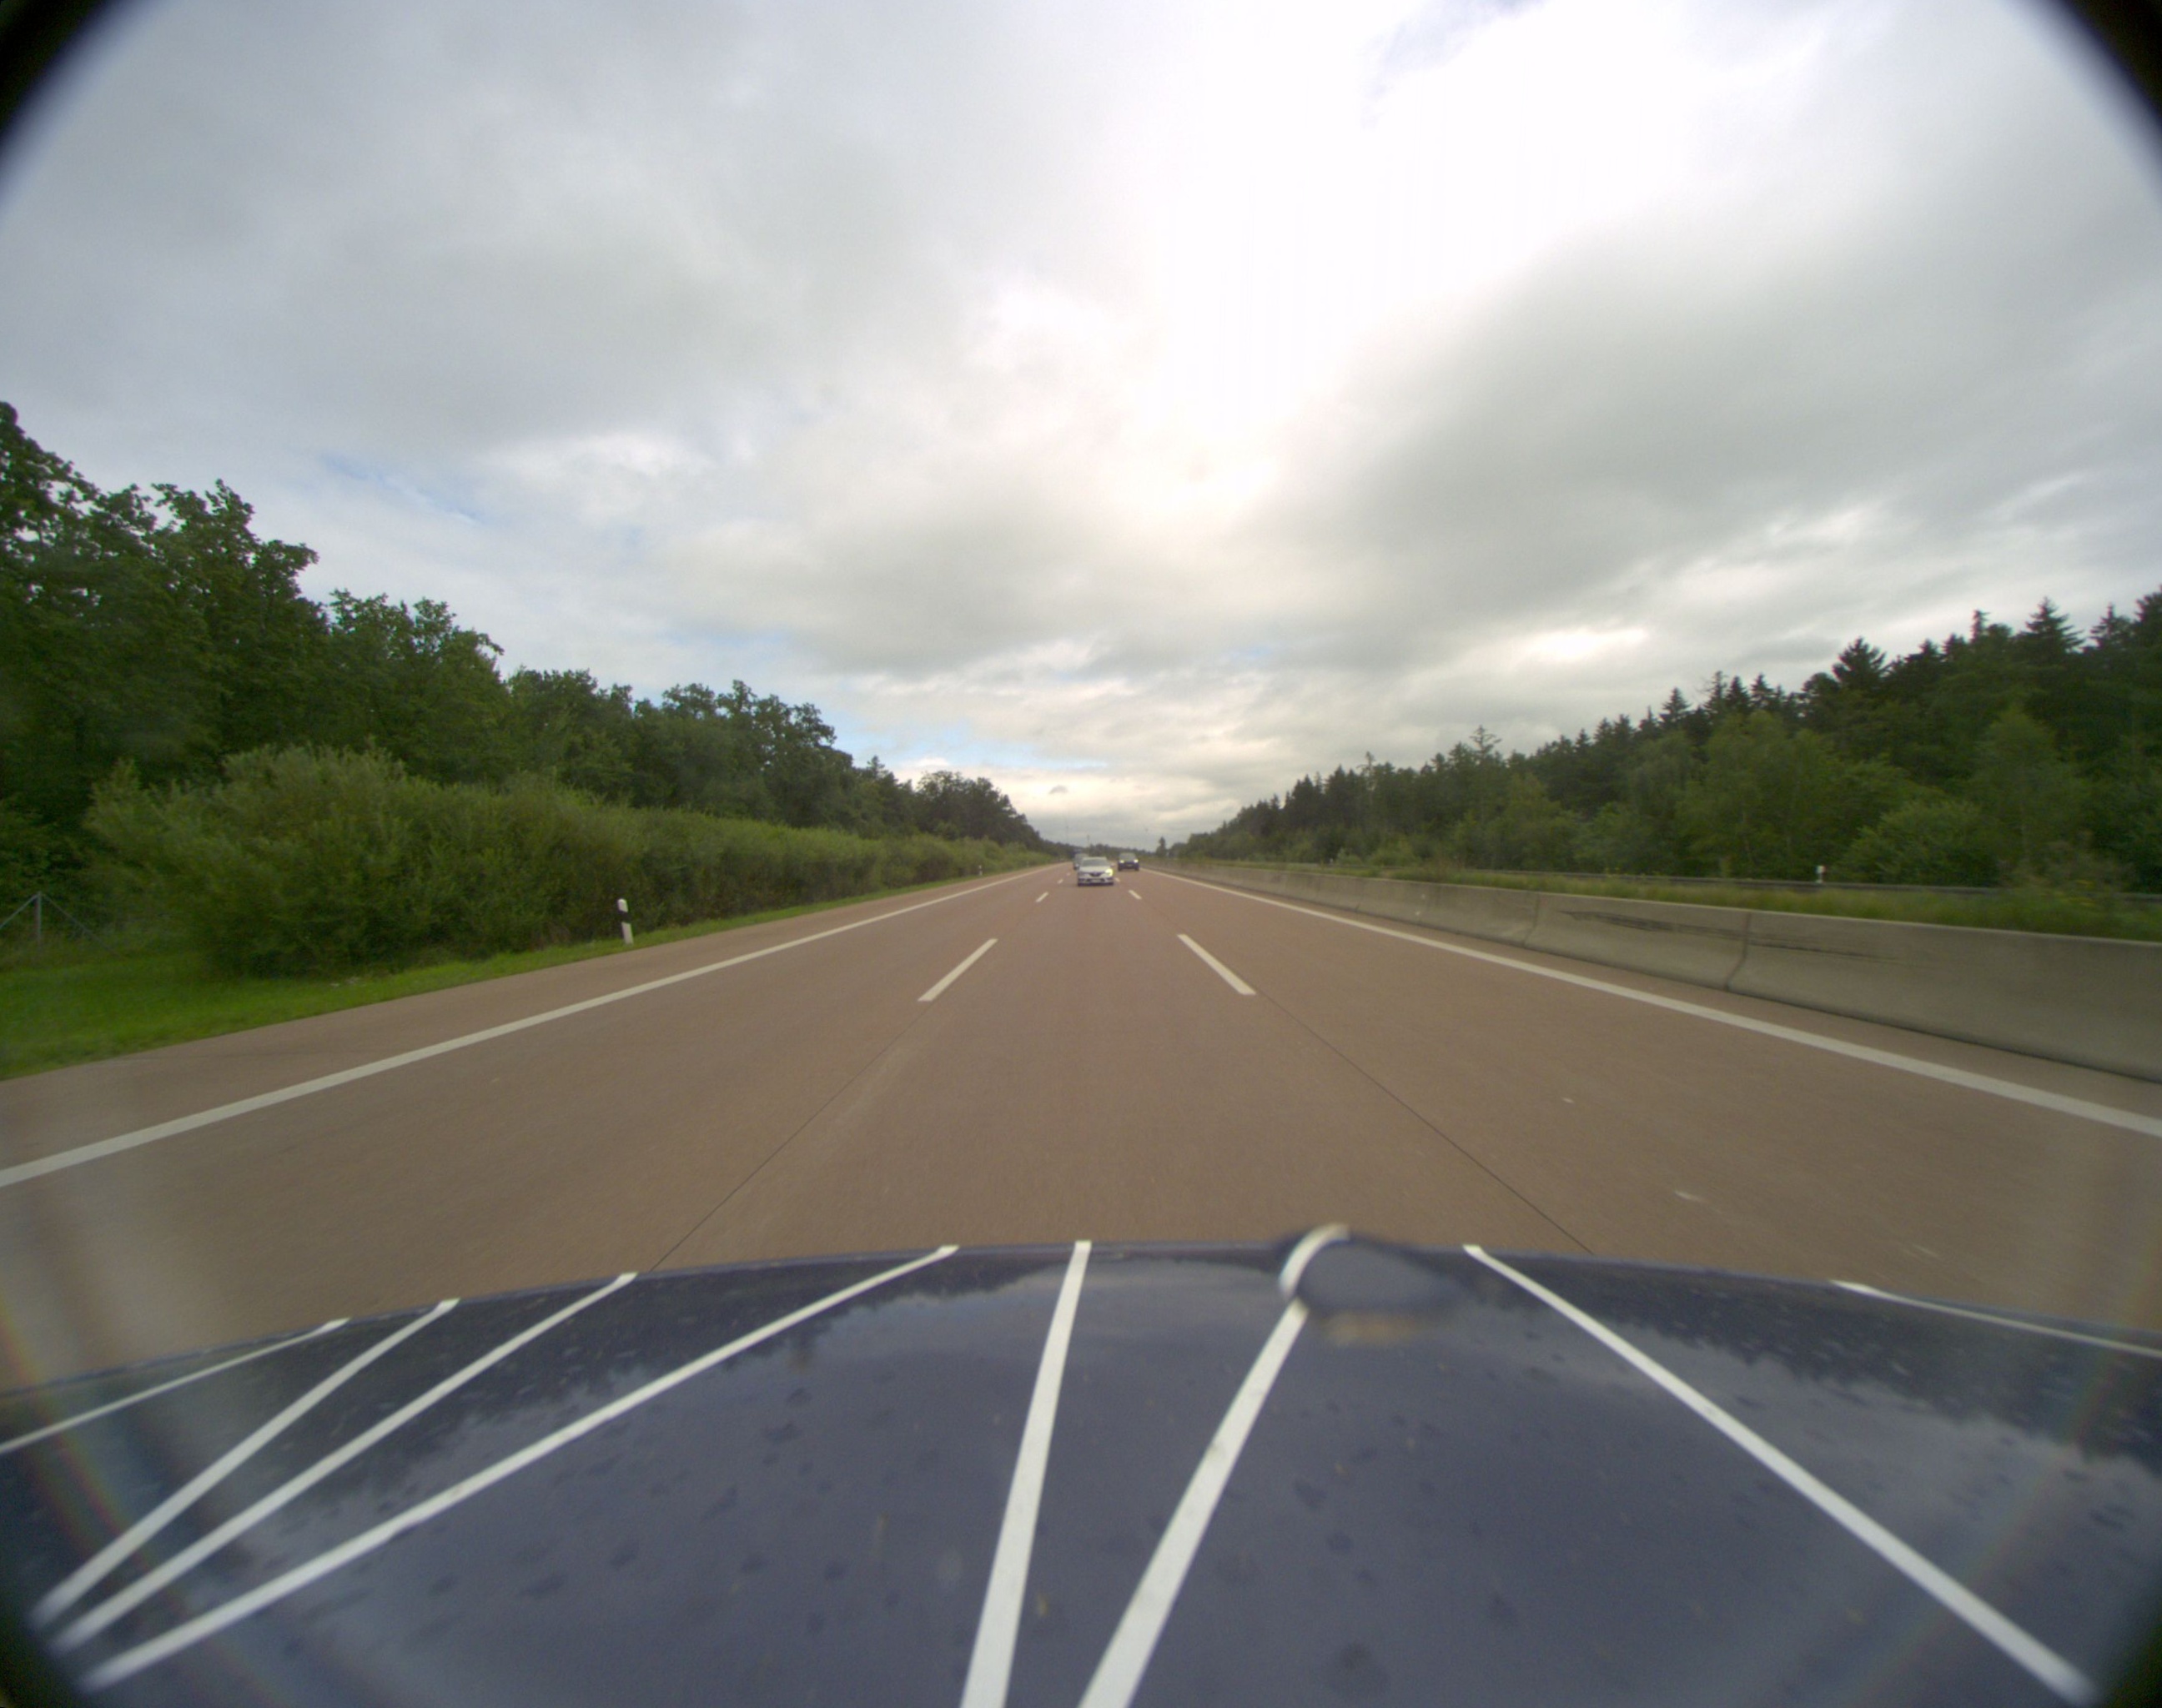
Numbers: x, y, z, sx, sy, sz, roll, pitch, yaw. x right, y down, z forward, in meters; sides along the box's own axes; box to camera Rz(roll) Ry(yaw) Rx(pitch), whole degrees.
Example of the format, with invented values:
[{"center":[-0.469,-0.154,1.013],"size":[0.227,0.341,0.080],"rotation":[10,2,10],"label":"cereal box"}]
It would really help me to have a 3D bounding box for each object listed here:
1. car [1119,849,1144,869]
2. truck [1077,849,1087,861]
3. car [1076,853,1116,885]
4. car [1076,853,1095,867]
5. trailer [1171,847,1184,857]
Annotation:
[{"center":[4.658,0.454,70.712],"size":[1.998,1.689,5.252],"rotation":[-2,0,1],"label":"car"},{"center":[0.448,0.264,249.974],"size":[2.956,3.705,7.950],"rotation":[-5,0,1],"label":"truck"},{"center":[0.821,0.763,39.281],"size":[1.923,1.515,4.001],"rotation":[-2,0,3],"label":"car"},{"center":[0.553,0.648,85.300],"size":[1.986,1.499,4.052],"rotation":[-2,0,1],"label":"car"},{"center":[21.936,-0.370,173.106],"size":[2.337,2.149,6.189],"rotation":[-2,0,1],"label":"trailer"}]
